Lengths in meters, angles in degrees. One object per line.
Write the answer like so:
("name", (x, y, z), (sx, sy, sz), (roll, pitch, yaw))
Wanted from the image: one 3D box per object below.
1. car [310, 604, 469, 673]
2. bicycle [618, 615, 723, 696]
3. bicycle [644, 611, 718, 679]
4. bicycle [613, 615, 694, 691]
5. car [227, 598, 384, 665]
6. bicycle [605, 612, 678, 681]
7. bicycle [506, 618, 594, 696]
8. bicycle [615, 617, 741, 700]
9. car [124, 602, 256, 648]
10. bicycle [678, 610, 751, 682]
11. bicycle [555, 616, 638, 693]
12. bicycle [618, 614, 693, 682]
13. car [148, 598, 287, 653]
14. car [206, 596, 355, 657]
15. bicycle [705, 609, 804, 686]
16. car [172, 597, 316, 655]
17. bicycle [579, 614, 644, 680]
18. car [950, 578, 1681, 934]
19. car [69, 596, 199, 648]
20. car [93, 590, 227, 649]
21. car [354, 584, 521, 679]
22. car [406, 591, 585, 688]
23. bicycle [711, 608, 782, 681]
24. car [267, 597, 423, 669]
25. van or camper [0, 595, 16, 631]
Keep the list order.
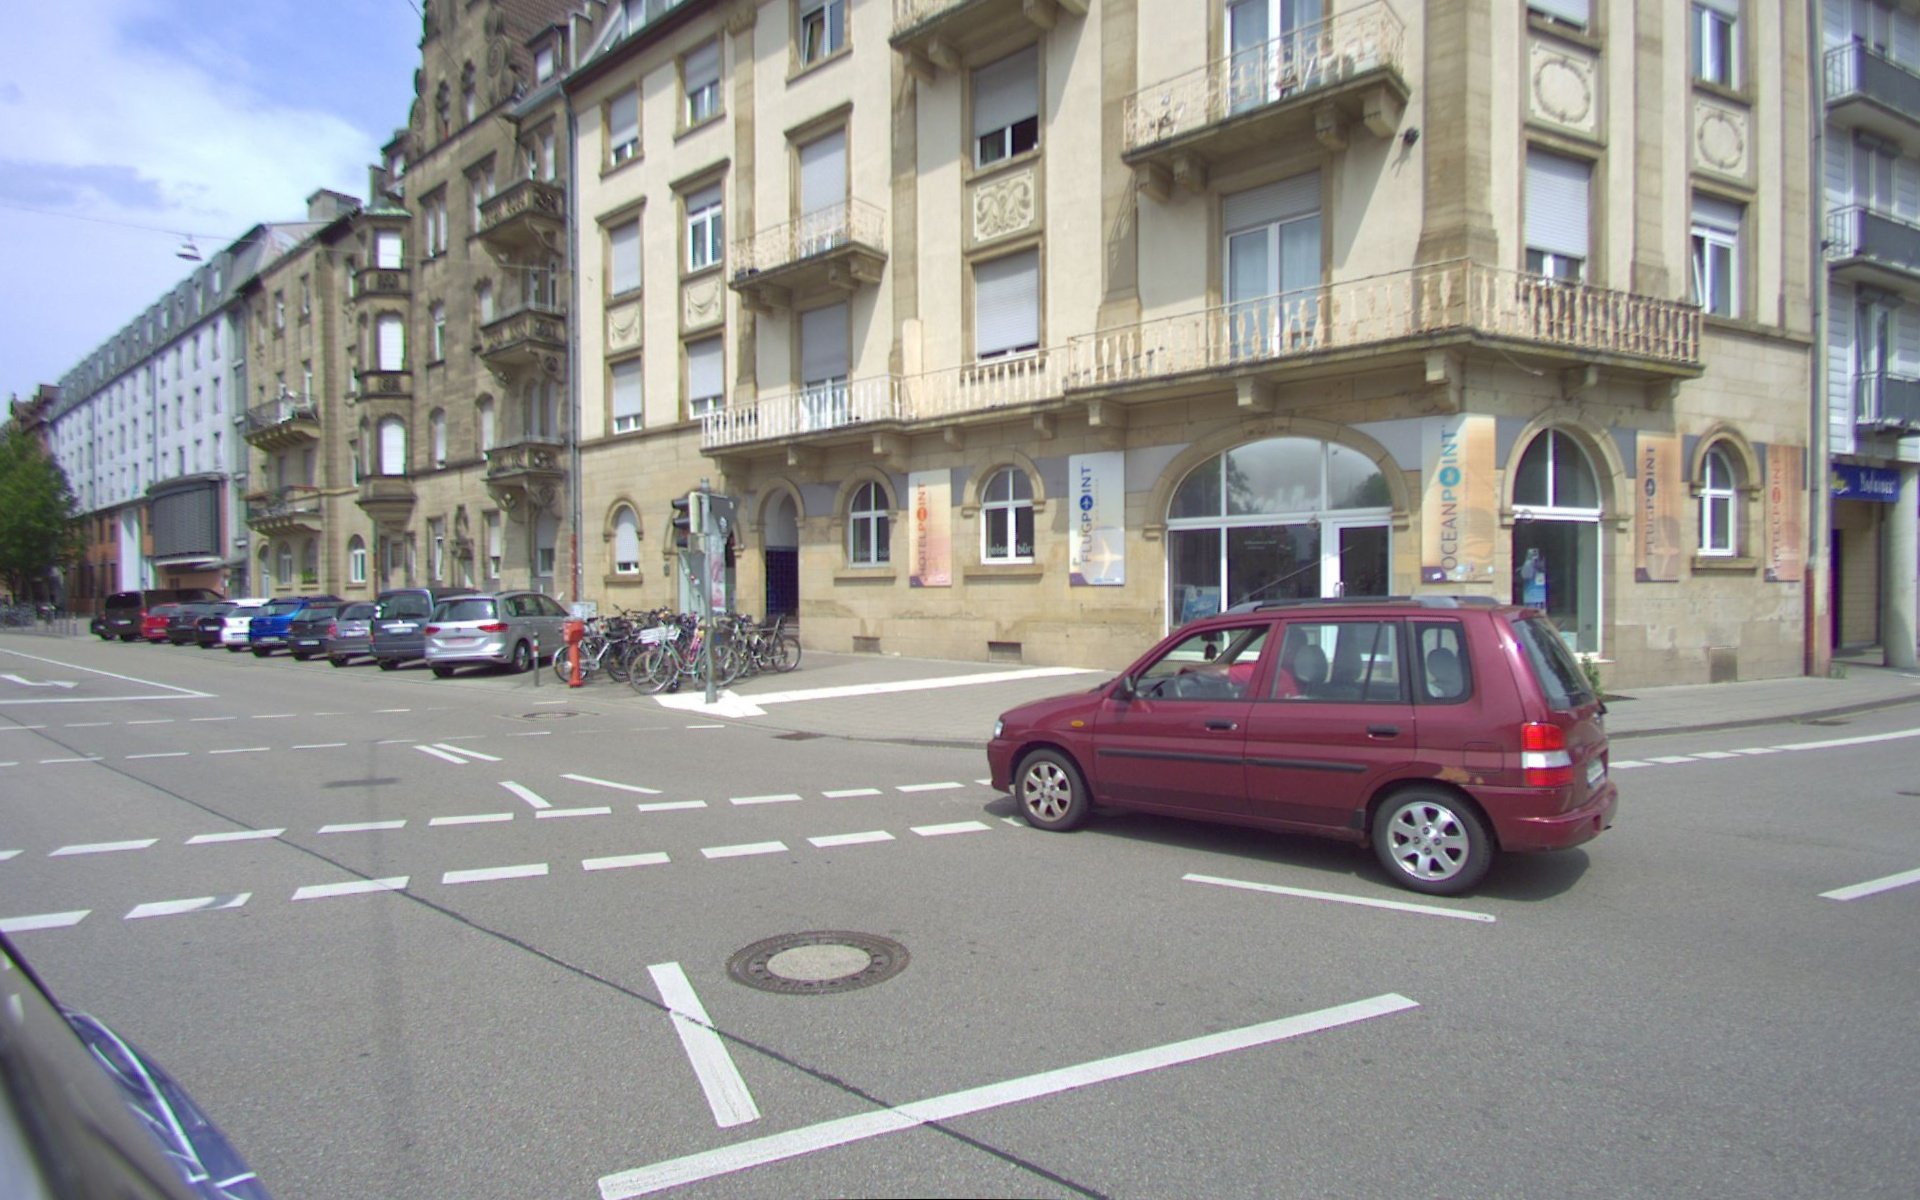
("car", (-14.034, 0.896, 25.155), (1.735, 1.547, 3.826), (-1, 0, 1))
("bicycle", (-4.873, 0.906, 17.150), (0.397, 1.201, 1.800), (-1, 2, 37))
("bicycle", (-5.138, 0.811, 18.681), (0.397, 1.201, 1.328), (-1, 0, 39))
("bicycle", (-5.326, 0.908, 17.639), (0.397, 1.201, 1.329), (-1, 2, 37))
("car", (-18.733, 0.837, 29.186), (1.738, 1.546, 3.822), (-4, 2, 6))
("bicycle", (-6.036, 0.862, 19.227), (0.397, 1.201, 1.330), (-1, 2, 35))
("bicycle", (-7.120, 0.967, 17.622), (0.397, 1.201, 1.329), (-1, 3, 39))
("bicycle", (-4.458, 0.900, 16.047), (1.844, 1.201, 0.457), (-1, 0, -30))
("car", (-28.046, 0.872, 37.017), (1.737, 1.547, 3.822), (-1, 0, 6))
("bicycle", (-4.511, 0.823, 18.678), (0.396, 1.201, 1.331), (-1, 3, 34))
("bicycle", (-6.277, 0.921, 17.526), (0.396, 1.201, 1.331), (-1, 3, 34))
("bicycle", (-5.666, 0.870, 18.883), (0.397, 1.201, 1.328), (-1, 0, 38))
("car", (-25.771, 0.831, 35.300), (1.738, 1.546, 3.822), (-4, 2, 6))
("car", (-21.071, 0.776, 31.579), (1.738, 1.546, 3.822), (-4, 2, 6))
("bicycle", (-3.602, 0.819, 17.883), (0.397, 1.201, 1.808), (-2, 1, 39))
("car", (-23.570, 0.819, 33.505), (1.738, 1.546, 3.822), (-4, 2, 6))
("bicycle", (-6.669, 0.880, 19.414), (0.395, 1.201, 1.335), (-1, 0, 23))
("car", (1.993, 0.695, 6.377), (3.999, 1.535, 1.744), (0, -1, 42))
("car", (-32.827, 0.830, 40.371), (1.738, 1.698, 3.822), (-4, 2, 6))
("car", (-30.277, 0.701, 38.454), (1.738, 1.907, 3.822), (-4, 2, 6))
("car", (-11.966, 0.642, 23.488), (1.735, 1.832, 3.827), (-4, 2, 1))
("car", (-9.529, 0.729, 21.146), (1.735, 1.601, 4.035), (-4, 2, 1))
("bicycle", (-3.894, 0.797, 18.530), (0.396, 1.201, 1.330), (-1, 3, 34))
("car", (-16.439, 0.827, 27.307), (1.735, 1.546, 3.827), (-4, 2, 1))
("van or camper", (-56.515, 0.764, 57.511), (1.997, 2.029, 3.950), (0, 0, 37))
